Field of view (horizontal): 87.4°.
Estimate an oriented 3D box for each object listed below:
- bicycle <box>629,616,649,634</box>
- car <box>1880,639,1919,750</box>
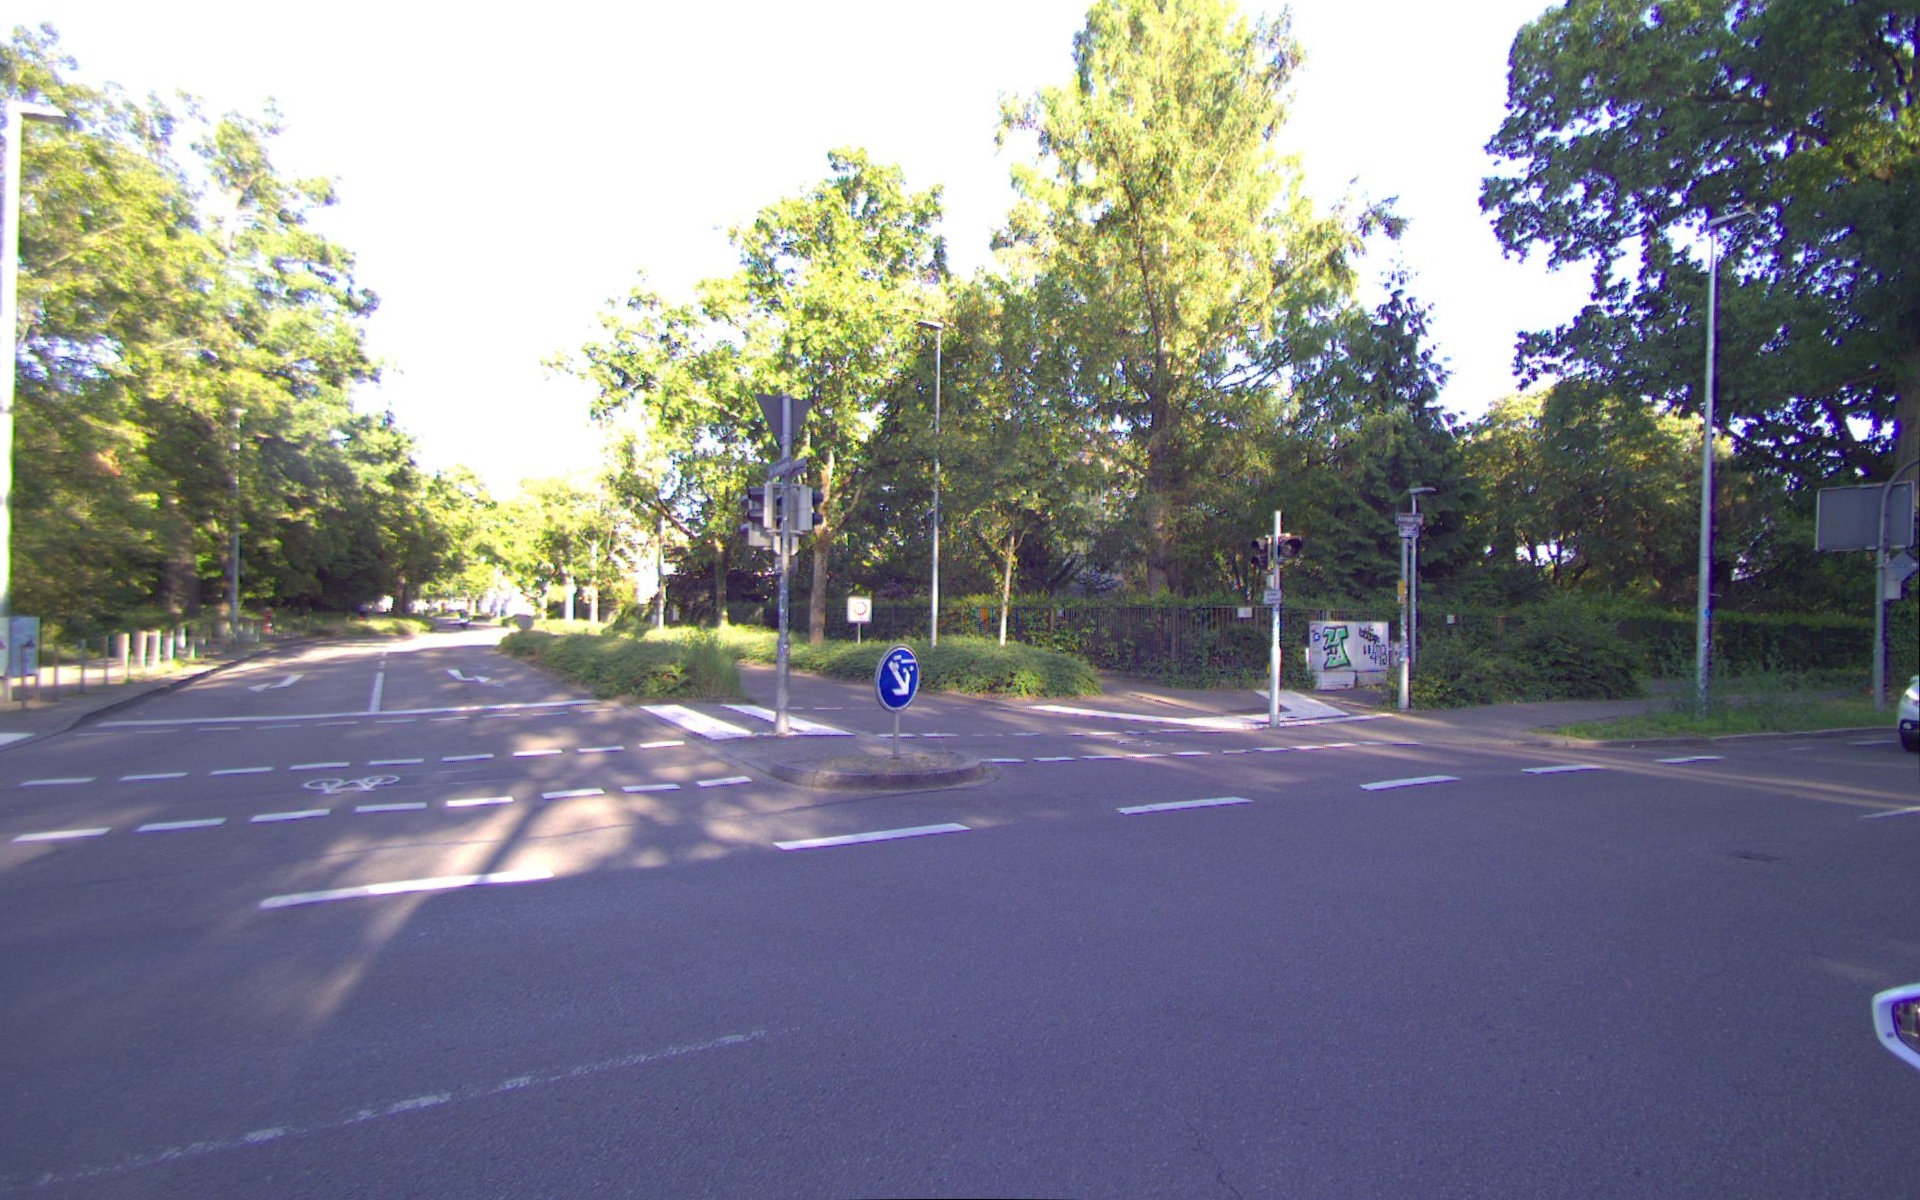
[{"bbox_3d":[-22.447,1.733,70.313,0.869,1.216,2.324,0,0,-5],"label":"bicycle"},{"bbox_3d":[15.241,1.352,14.599,3.855,1.543,1.670,2,-3,-30],"label":"car"}]
